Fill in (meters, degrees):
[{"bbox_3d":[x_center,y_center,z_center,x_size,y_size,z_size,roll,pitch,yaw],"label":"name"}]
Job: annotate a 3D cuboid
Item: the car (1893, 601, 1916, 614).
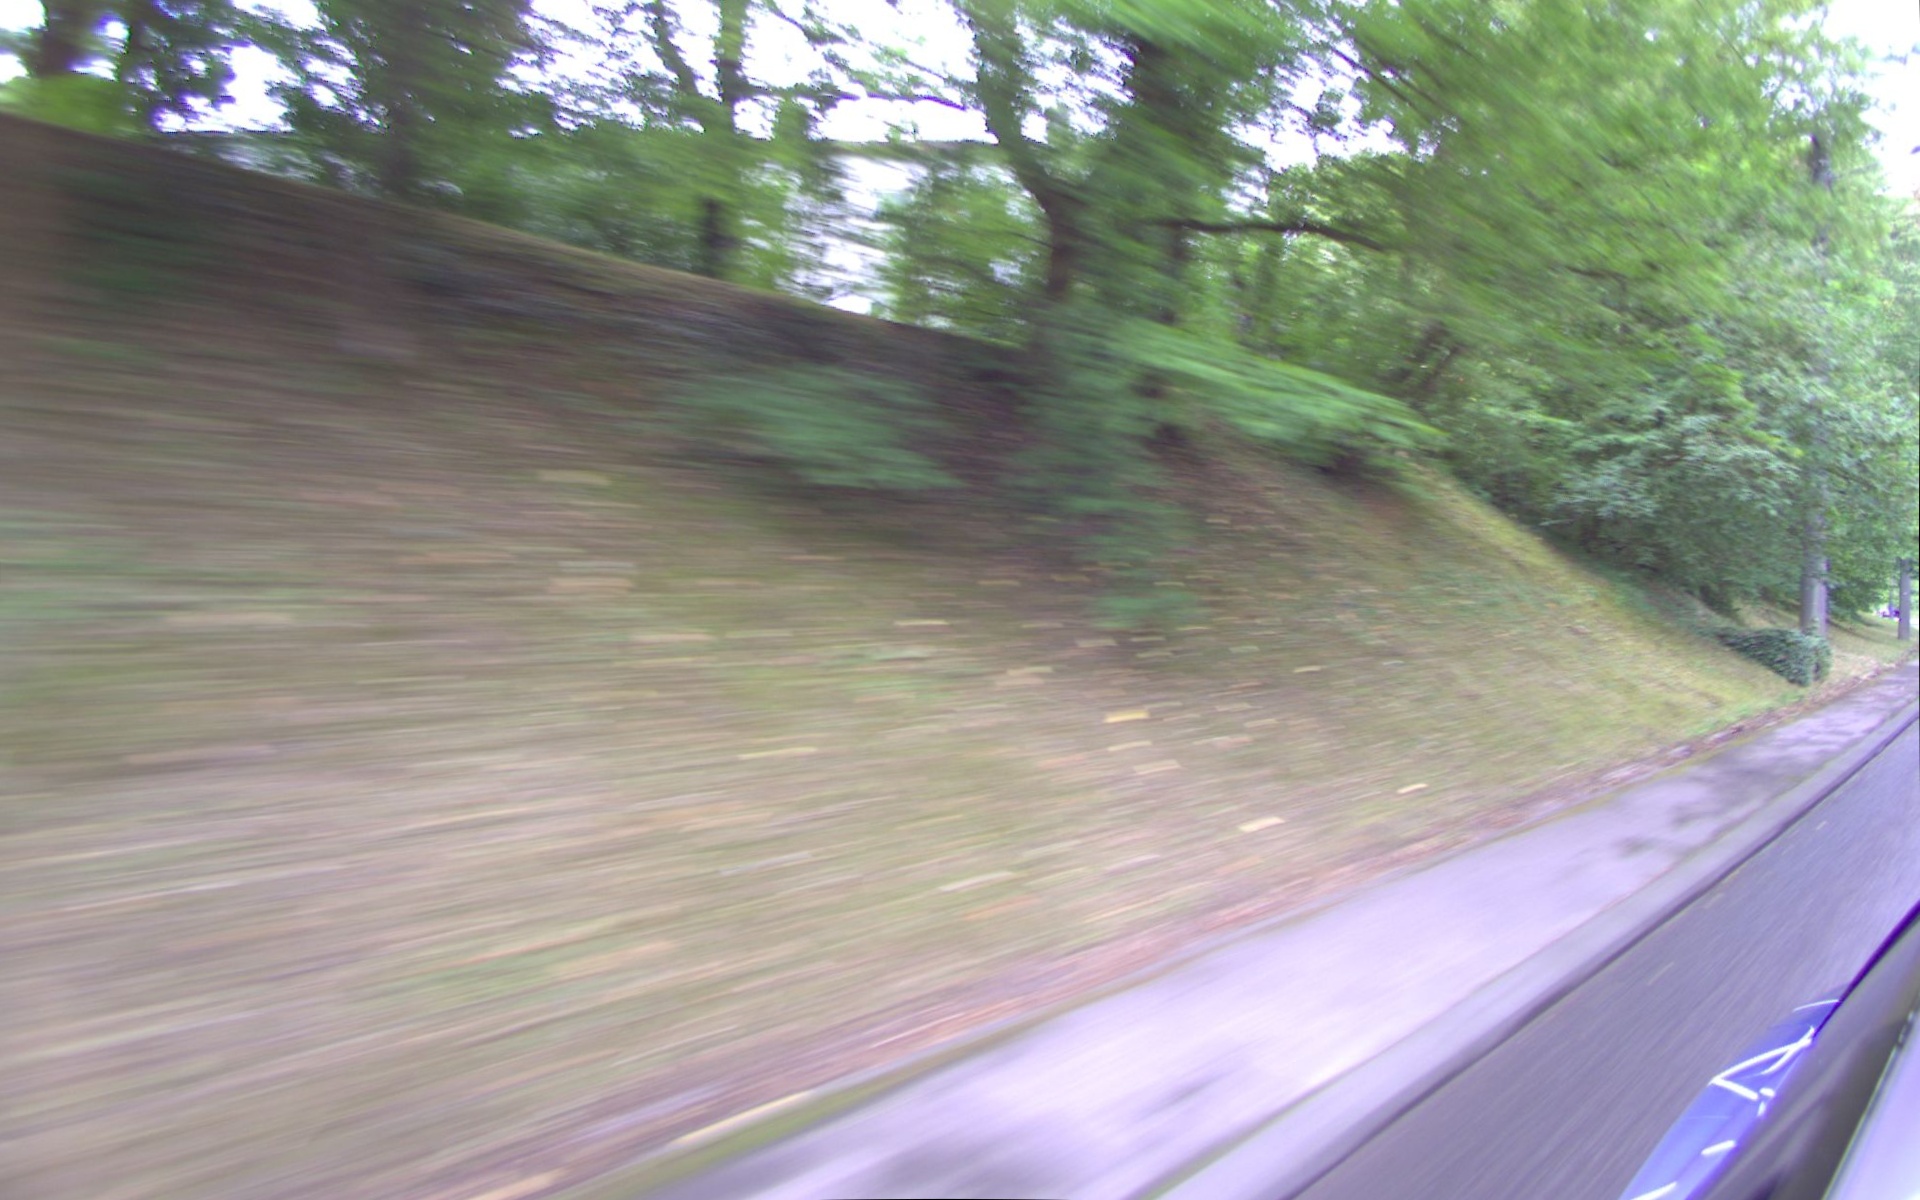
[{"bbox_3d":[120.748,0.917,129.438,2.028,1.527,4.525,0,1,42],"label":"car"}]
